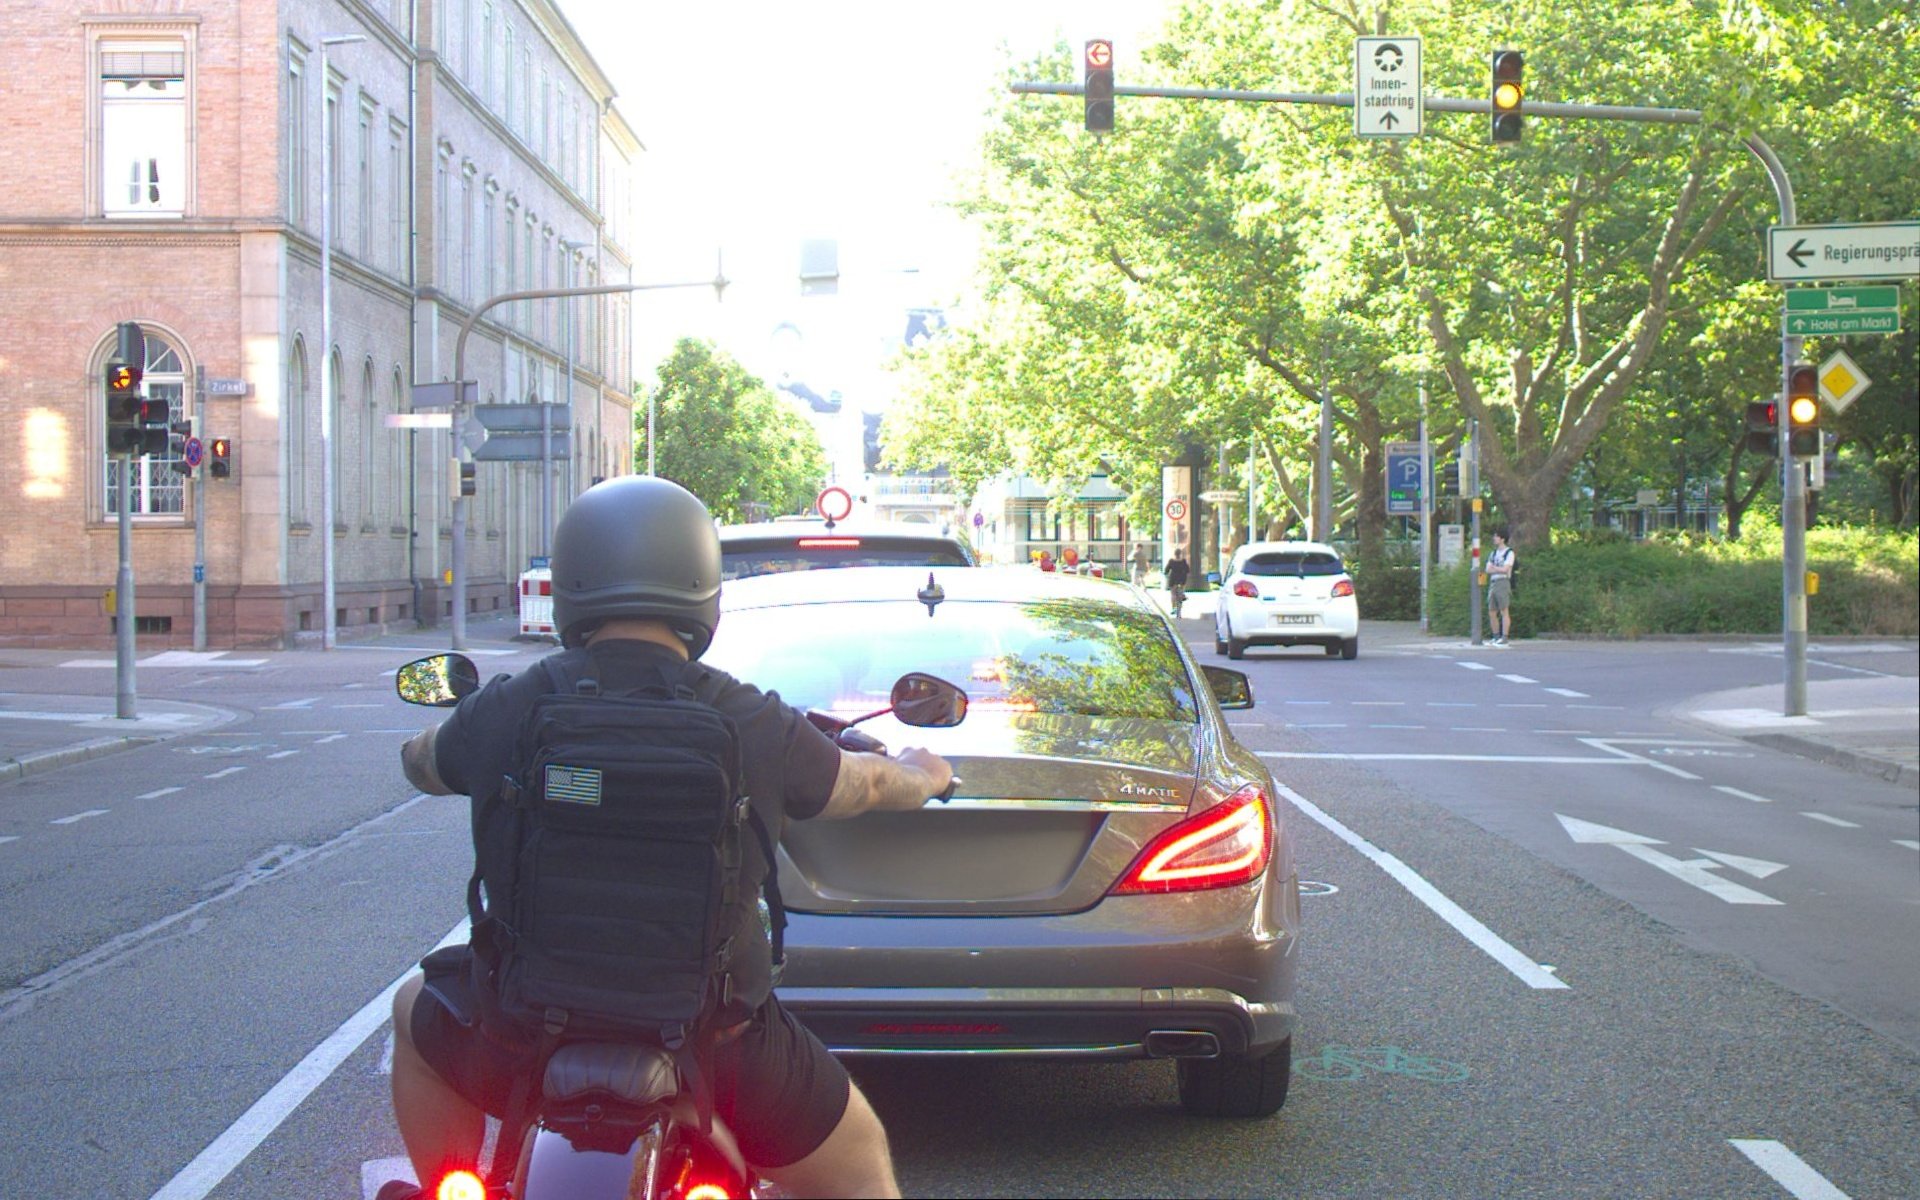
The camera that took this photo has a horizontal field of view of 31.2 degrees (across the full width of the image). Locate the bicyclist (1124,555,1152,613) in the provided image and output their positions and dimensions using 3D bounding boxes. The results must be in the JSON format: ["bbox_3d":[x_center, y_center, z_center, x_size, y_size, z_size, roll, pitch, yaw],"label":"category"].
[{"bbox_3d":[4.775,-0.440,92.072,0.656,1.525,0.906,2,0,-1],"label":"bicyclist"}]

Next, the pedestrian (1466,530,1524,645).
[{"bbox_3d":[8.273,-0.195,53.198,0.570,1.768,0.625,1,0,-35],"label":"pedestrian"}]

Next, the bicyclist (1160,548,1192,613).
[{"bbox_3d":[5.140,-0.470,81.731,0.656,1.525,0.852,2,0,-1],"label":"bicyclist"}]

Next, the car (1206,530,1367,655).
[{"bbox_3d":[4.162,-0.107,44.265,1.679,1.493,3.685,2,1,0],"label":"car"}]

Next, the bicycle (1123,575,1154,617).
[{"bbox_3d":[4.774,-0.116,92.103,0.656,1.107,2.186,2,1,-1],"label":"bicycle"}]

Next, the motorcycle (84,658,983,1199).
[{"bbox_3d":[-0.498,0.786,5.222,1.012,1.302,2.673,0,1,-1],"label":"motorcycle"}]

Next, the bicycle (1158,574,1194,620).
[{"bbox_3d":[5.133,-0.074,81.719,0.656,1.066,1.927,2,1,-1],"label":"bicycle"}]

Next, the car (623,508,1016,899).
[{"bbox_3d":[-0.789,0.426,16.729,1.630,1.645,3.851,2,1,-6],"label":"car"}]

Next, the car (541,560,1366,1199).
[{"bbox_3d":[-0.042,0.617,9.576,1.828,1.415,3.815,1,1,-1],"label":"car"}]

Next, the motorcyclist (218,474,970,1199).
[{"bbox_3d":[-0.503,0.616,5.353,1.012,1.596,1.406,0,1,-1],"label":"motorcyclist"}]

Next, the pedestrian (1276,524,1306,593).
[{"bbox_3d":[7.621,-0.953,79.074,0.592,1.573,0.527,2,0,0],"label":"pedestrian"}]
